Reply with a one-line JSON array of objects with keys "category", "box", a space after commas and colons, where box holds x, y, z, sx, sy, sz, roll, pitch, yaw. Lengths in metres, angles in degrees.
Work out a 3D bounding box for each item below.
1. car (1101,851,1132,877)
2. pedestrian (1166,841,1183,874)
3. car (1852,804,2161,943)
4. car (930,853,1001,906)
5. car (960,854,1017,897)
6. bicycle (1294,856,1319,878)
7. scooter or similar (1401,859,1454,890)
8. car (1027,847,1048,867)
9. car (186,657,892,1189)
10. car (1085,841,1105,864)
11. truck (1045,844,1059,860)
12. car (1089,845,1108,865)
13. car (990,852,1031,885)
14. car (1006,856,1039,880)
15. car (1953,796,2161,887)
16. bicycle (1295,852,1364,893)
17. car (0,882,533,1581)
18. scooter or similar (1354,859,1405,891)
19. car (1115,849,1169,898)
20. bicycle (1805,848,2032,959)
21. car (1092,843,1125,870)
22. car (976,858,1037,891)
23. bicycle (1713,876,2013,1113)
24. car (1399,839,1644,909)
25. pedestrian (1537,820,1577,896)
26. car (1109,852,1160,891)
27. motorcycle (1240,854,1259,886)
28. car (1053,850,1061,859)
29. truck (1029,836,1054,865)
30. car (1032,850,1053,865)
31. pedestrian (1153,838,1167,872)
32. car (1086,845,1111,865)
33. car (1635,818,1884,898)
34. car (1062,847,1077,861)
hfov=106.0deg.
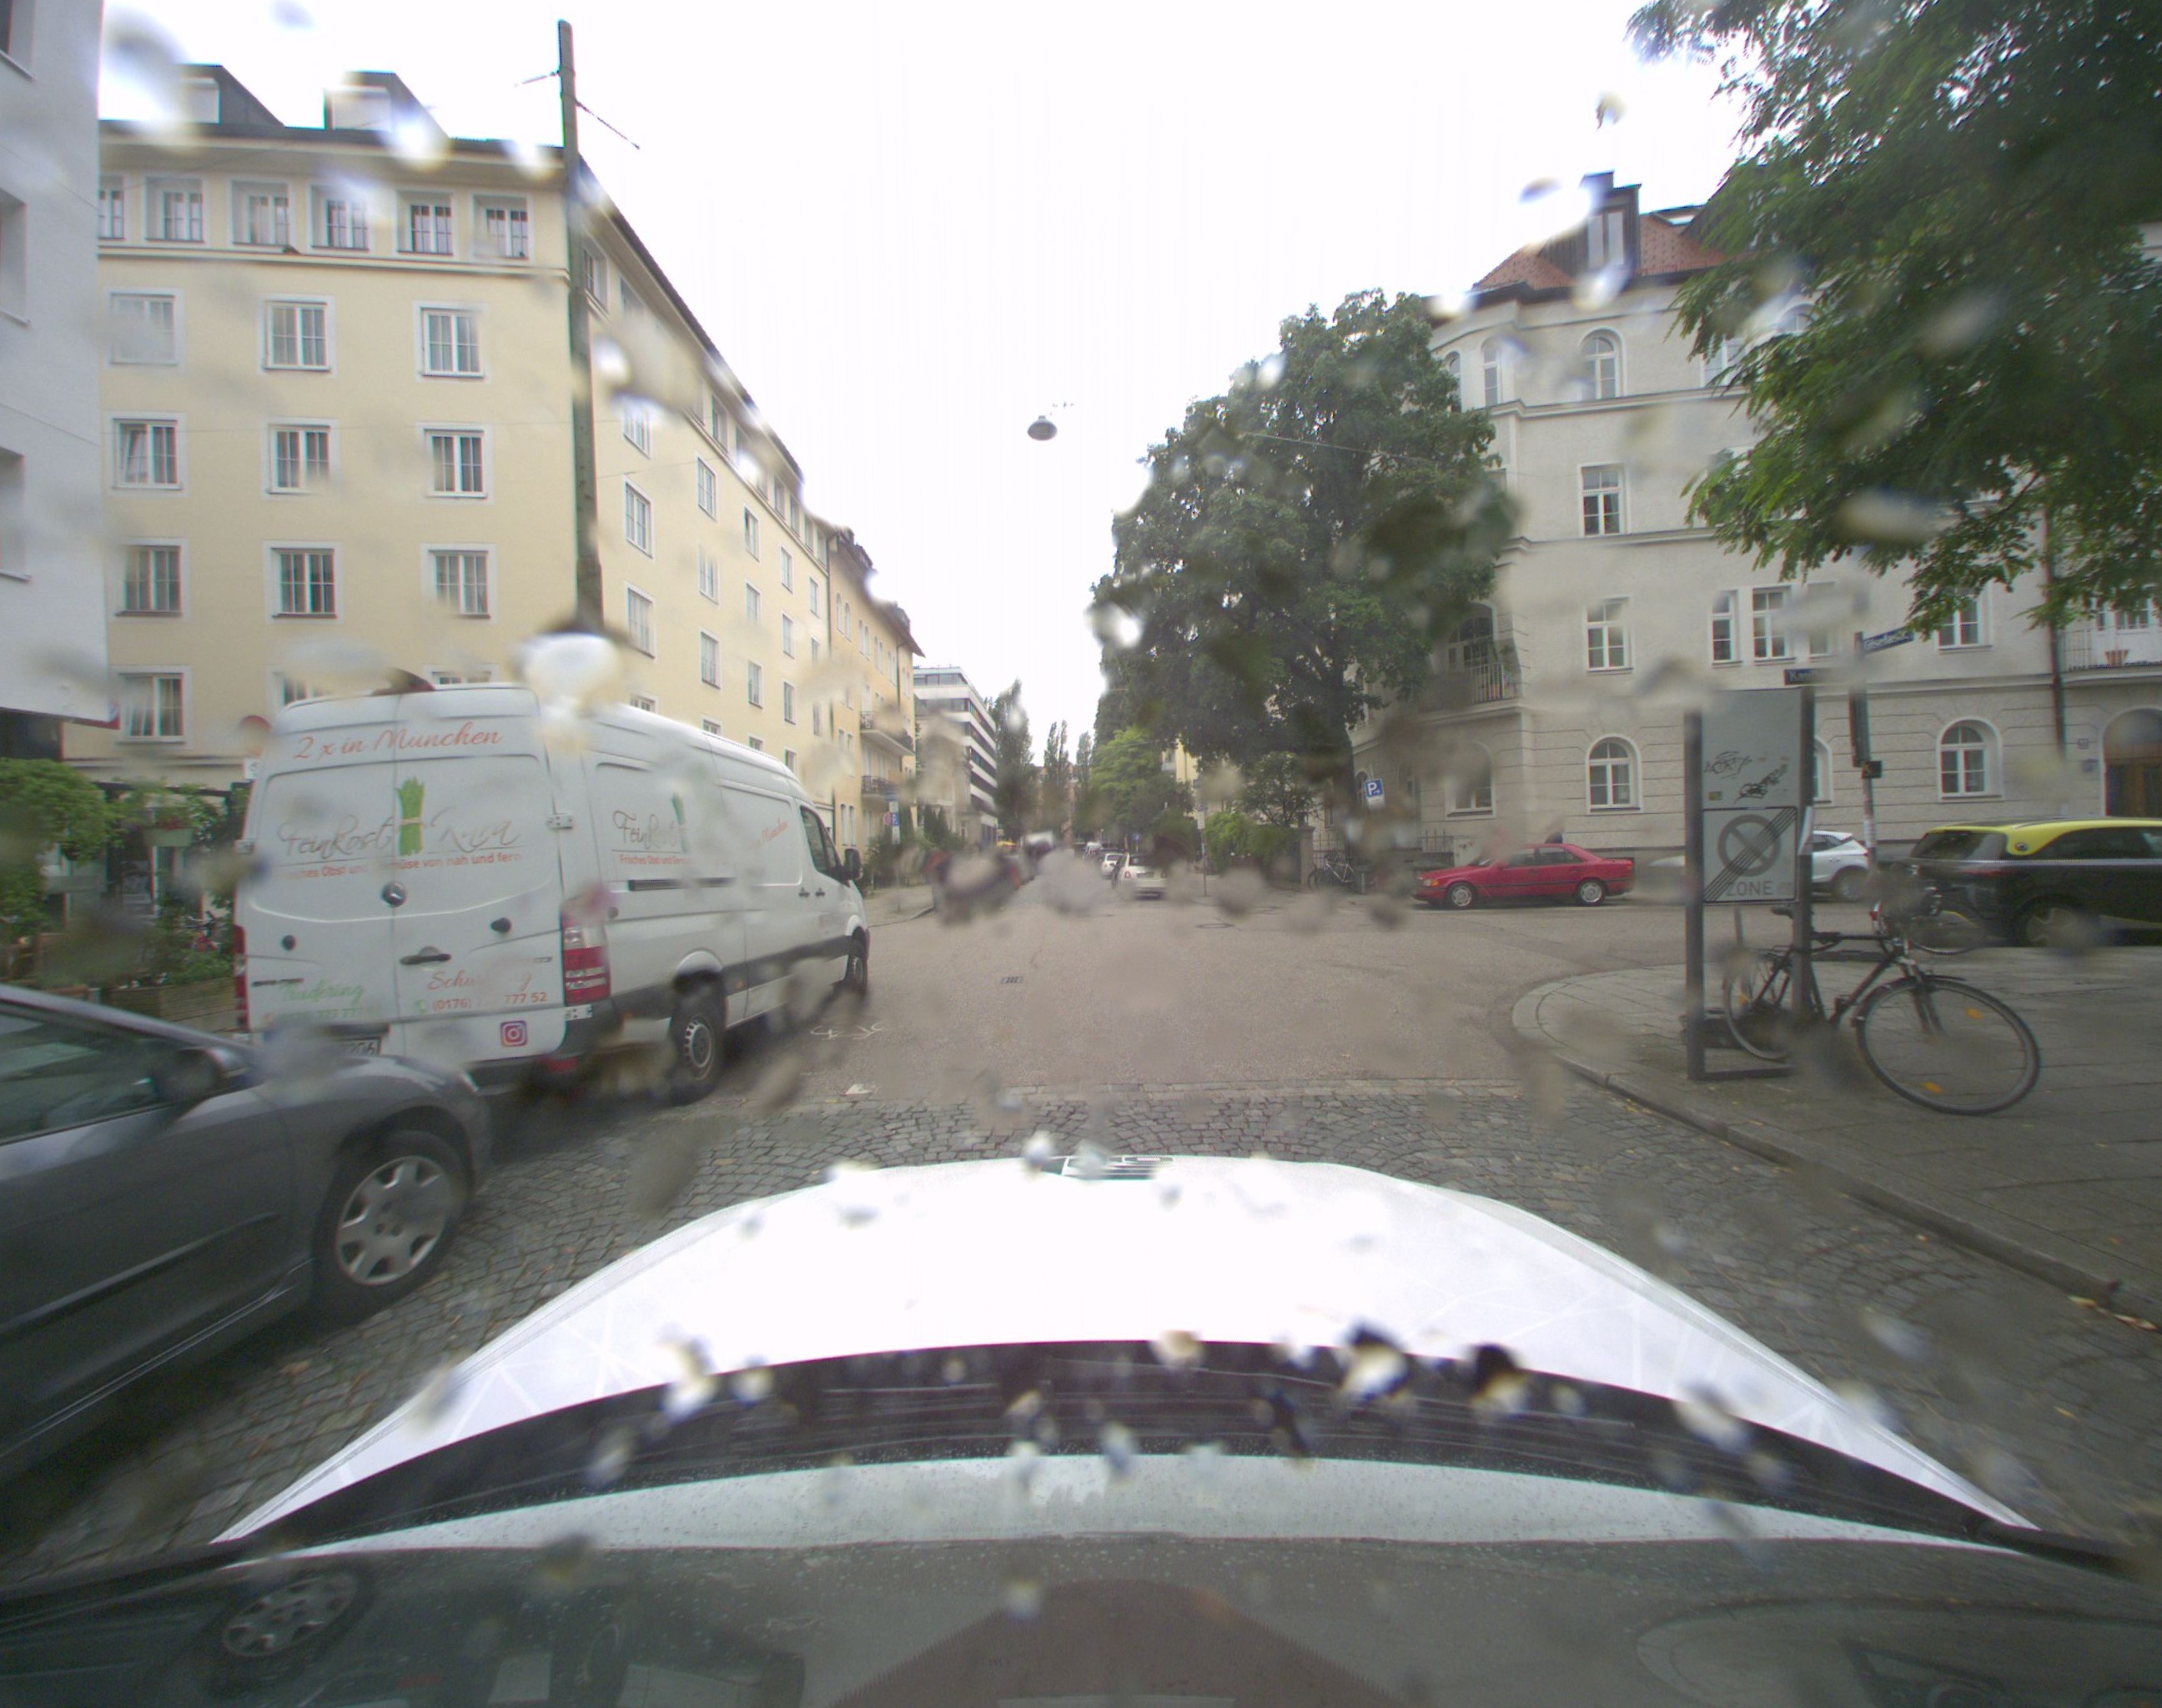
[{"category": "car", "box": [2.056, 0.583, 47.926, 1.625, 1.469, 3.657, 1, 0, -1]}, {"category": "pedestrian", "box": [5.152, 0.177, 44.769, 0.651, 1.808, 0.634, -1, -1, 35]}, {"category": "car", "box": [12.837, 0.213, 10.346, 4.051, 1.597, 1.910, -1, 0, 8]}, {"category": "car", "box": [-3.789, 0.800, 27.409, 1.847, 1.586, 4.744, -1, 0, -2]}, {"category": "car", "box": [-3.578, 0.805, 32.332, 1.768, 1.536, 4.538, -1, 0, -1]}, {"category": "bicycle", "box": [8.975, 0.512, 32.544, 0.489, 0.812, 2.276, -1, 0, 4]}, {"category": "scooter or similar", "box": [9.625, 0.558, 22.663, 1.230, 0.825, 0.698, -1, 0, 8]}, {"category": "car", "box": [-3.927, 0.260, 74.211, 1.769, 1.717, 4.388, -1, 0, -2]}, {"category": "car", "box": [-3.420, 0.351, 7.017, 1.970, 2.574, 5.795, -3, 0, 1]}, {"category": "car", "box": [1.550, -0.230, 92.096, 1.890, 2.426, 5.608, 2, 1, -2]}, {"category": "truck", "box": [-4.271, -0.283, 119.627, 1.988, 2.346, 4.066, -1, 0, -1]}, {"category": "car", "box": [1.864, 0.110, 86.546, 1.795, 1.949, 4.857, 1, 0, -1]}, {"category": "car", "box": [-3.702, 0.725, 43.609, 1.768, 1.647, 4.390, -1, 0, 0]}, {"category": "car", "box": [-3.583, 0.830, 50.471, 1.768, 1.429, 4.389, -1, 0, -1]}, {"category": "car", "box": [21.060, -0.257, 16.583, 4.301, 1.711, 1.757, -1, 0, 10]}, {"category": "bicycle", "box": [7.245, 0.527, 23.777, 1.827, 1.124, 0.564, -2, 0, 9]}, {"category": "car", "box": [-3.216, 0.875, 1.589, 1.657, 1.482, 3.979, -1, 0, -2]}, {"category": "scooter or similar", "box": [8.330, 0.584, 22.783, 1.176, 0.848, 0.926, -1, 0, 8]}, {"category": "car", "box": [1.992, 0.619, 27.400, 1.497, 1.471, 3.795, -2, 0, 0]}, {"category": "bicycle", "box": [9.086, 0.542, 8.894, 1.595, 1.069, 0.739, -3, -4, 2]}, {"category": "car", "box": [1.740, 0.161, 53.054, 1.869, 1.673, 5.488, -1, 0, -1]}, {"category": "car", "box": [-3.395, 0.906, 37.853, 1.763, 1.359, 4.402, -1, 0, 9]}, {"category": "bicycle", "box": [4.555, 0.731, 4.900, 0.386, 1.146, 1.592, -2, 0, 6]}, {"category": "car", "box": [9.655, 0.434, 18.156, 4.444, 1.358, 1.764, -2, 0, 6]}, {"category": "pedestrian", "box": [12.030, 0.107, 20.599, 0.493, 1.876, 0.741, -1, 0, -6]}, {"category": "car", "box": [2.141, 0.685, 33.653, 1.644, 1.422, 4.629, 2, 0, -2]}, {"category": "motorcycle", "box": [5.805, 0.540, 28.099, 0.361, 1.090, 1.404, -1, 0, 2]}, {"category": "car", "box": [-4.338, 0.151, 145.553, 1.272, 1.541, 3.119, -1, 0, 1]}, {"category": "truck", "box": [-4.304, -0.424, 90.762, 2.502, 3.031, 6.380, -3, 1, -2]}, {"category": "car", "box": [-3.750, 0.349, 79.416, 1.935, 1.459, 4.055, -1, 0, -2]}, {"category": "pedestrian", "box": [4.325, 0.044, 44.384, 0.677, 1.850, 0.577, -1, 0, 0]}, {"category": "car", "box": [1.564, 0.111, 73.549, 1.957, 1.759, 4.951, -1, 0, -1]}, {"category": "car", "box": [14.263, 0.083, 17.288, 3.868, 1.521, 1.568, -1, 0, 4]}, {"category": "car", "box": [-1.683, -0.018, 120.404, 1.990, 1.936, 4.000, -1, 0, 0]}]
